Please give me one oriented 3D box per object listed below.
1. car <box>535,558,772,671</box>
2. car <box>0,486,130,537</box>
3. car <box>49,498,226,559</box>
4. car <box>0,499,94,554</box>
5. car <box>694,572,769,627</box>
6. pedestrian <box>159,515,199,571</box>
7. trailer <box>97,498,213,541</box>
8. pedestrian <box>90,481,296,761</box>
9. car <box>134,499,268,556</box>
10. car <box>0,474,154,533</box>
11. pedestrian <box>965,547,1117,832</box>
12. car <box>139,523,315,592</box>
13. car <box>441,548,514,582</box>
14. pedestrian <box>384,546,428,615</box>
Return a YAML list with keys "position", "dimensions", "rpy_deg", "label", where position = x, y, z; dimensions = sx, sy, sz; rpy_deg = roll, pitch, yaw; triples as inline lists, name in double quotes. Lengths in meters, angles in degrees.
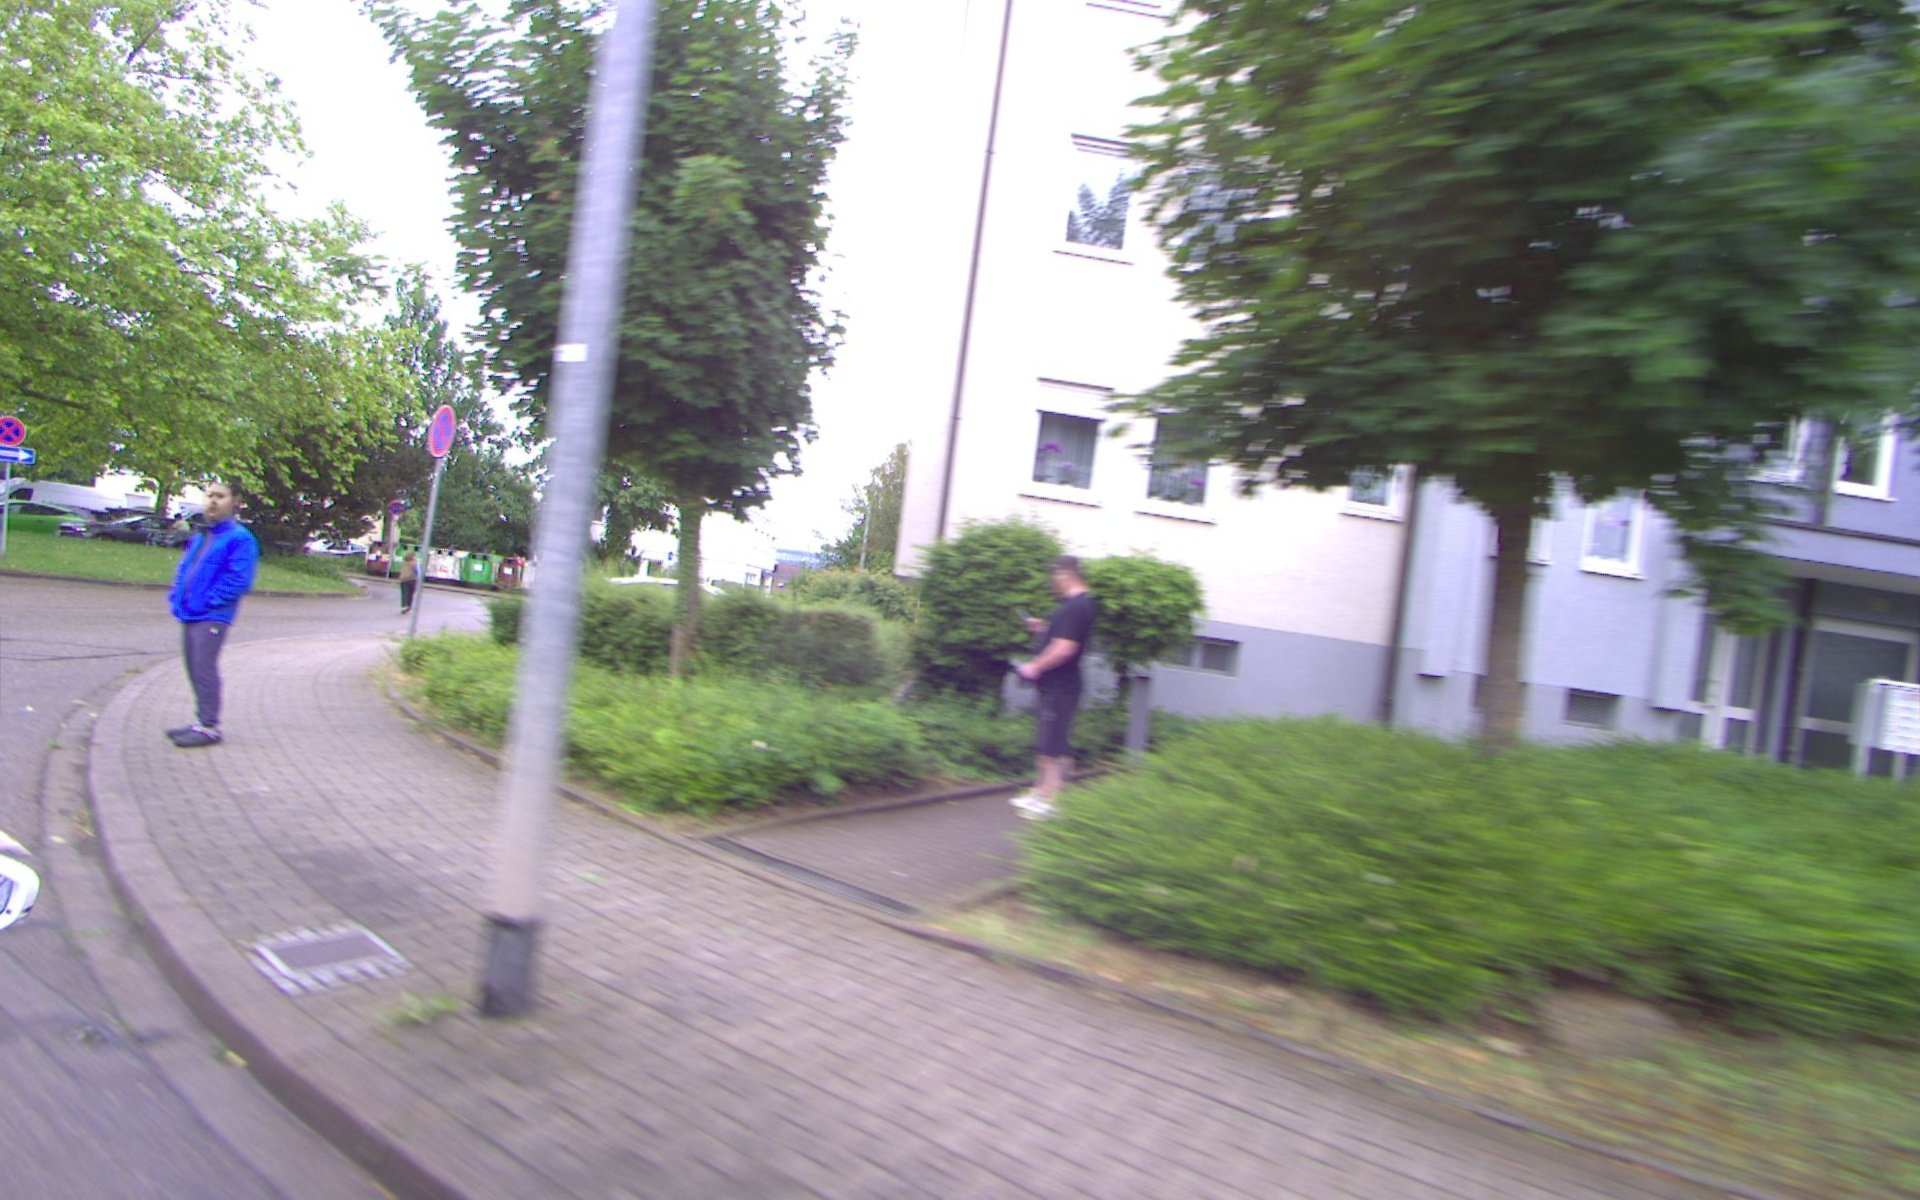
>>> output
- position: [-5.437, 0.254, 18.243]
  dimensions: [3.702, 1.499, 1.744]
  rpy_deg: [7, 1, -5]
  label: "car"
- position: [-36.260, -3.574, 40.454]
  dimensions: [4.112, 1.399, 1.765]
  rpy_deg: [7, 0, -4]
  label: "car"
- position: [-26.611, -2.284, 32.700]
  dimensions: [1.733, 1.388, 4.018]
  rpy_deg: [7, 0, 26]
  label: "car"
- position: [-30.674, -2.491, 32.238]
  dimensions: [1.733, 1.460, 4.018]
  rpy_deg: [7, 0, 26]
  label: "car"
- position: [-10.040, 0.003, 44.646]
  dimensions: [2.048, 2.038, 4.996]
  rpy_deg: [7, 0, -1]
  label: "car"
- position: [-25.305, -1.844, 32.598]
  dimensions: [0.578, 1.672, 0.738]
  rpy_deg: [8, 1, 35]
  label: "pedestrian"
- position: [-39.291, -3.900, 49.185]
  dimensions: [1.684, 1.454, 3.992]
  rpy_deg: [7, -1, 32]
  label: "trailer"
- position: [-5.063, 0.136, 6.663]
  dimensions: [0.761, 1.686, 0.591]
  rpy_deg: [7, 0, 15]
  label: "pedestrian"
- position: [-36.957, -3.492, 49.129]
  dimensions: [1.964, 2.038, 4.761]
  rpy_deg: [7, 0, 25]
  label: "car"
- position: [-44.310, -4.801, 50.388]
  dimensions: [1.963, 2.038, 5.837]
  rpy_deg: [7, 0, 21]
  label: "car"
- position: [0.570, 0.595, 6.927]
  dimensions: [0.659, 1.794, 0.615]
  rpy_deg: [7, 0, 24]
  label: "pedestrian"
- position: [-23.655, -1.349, 32.584]
  dimensions: [1.740, 1.647, 4.272]
  rpy_deg: [7, 0, 42]
  label: "car"
- position: [-29.712, -2.125, 62.004]
  dimensions: [1.674, 1.548, 3.634]
  rpy_deg: [7, 0, 44]
  label: "car"
- position: [-13.663, -0.479, 24.848]
  dimensions: [0.729, 1.602, 0.944]
  rpy_deg: [7, 0, -26]
  label: "pedestrian"
